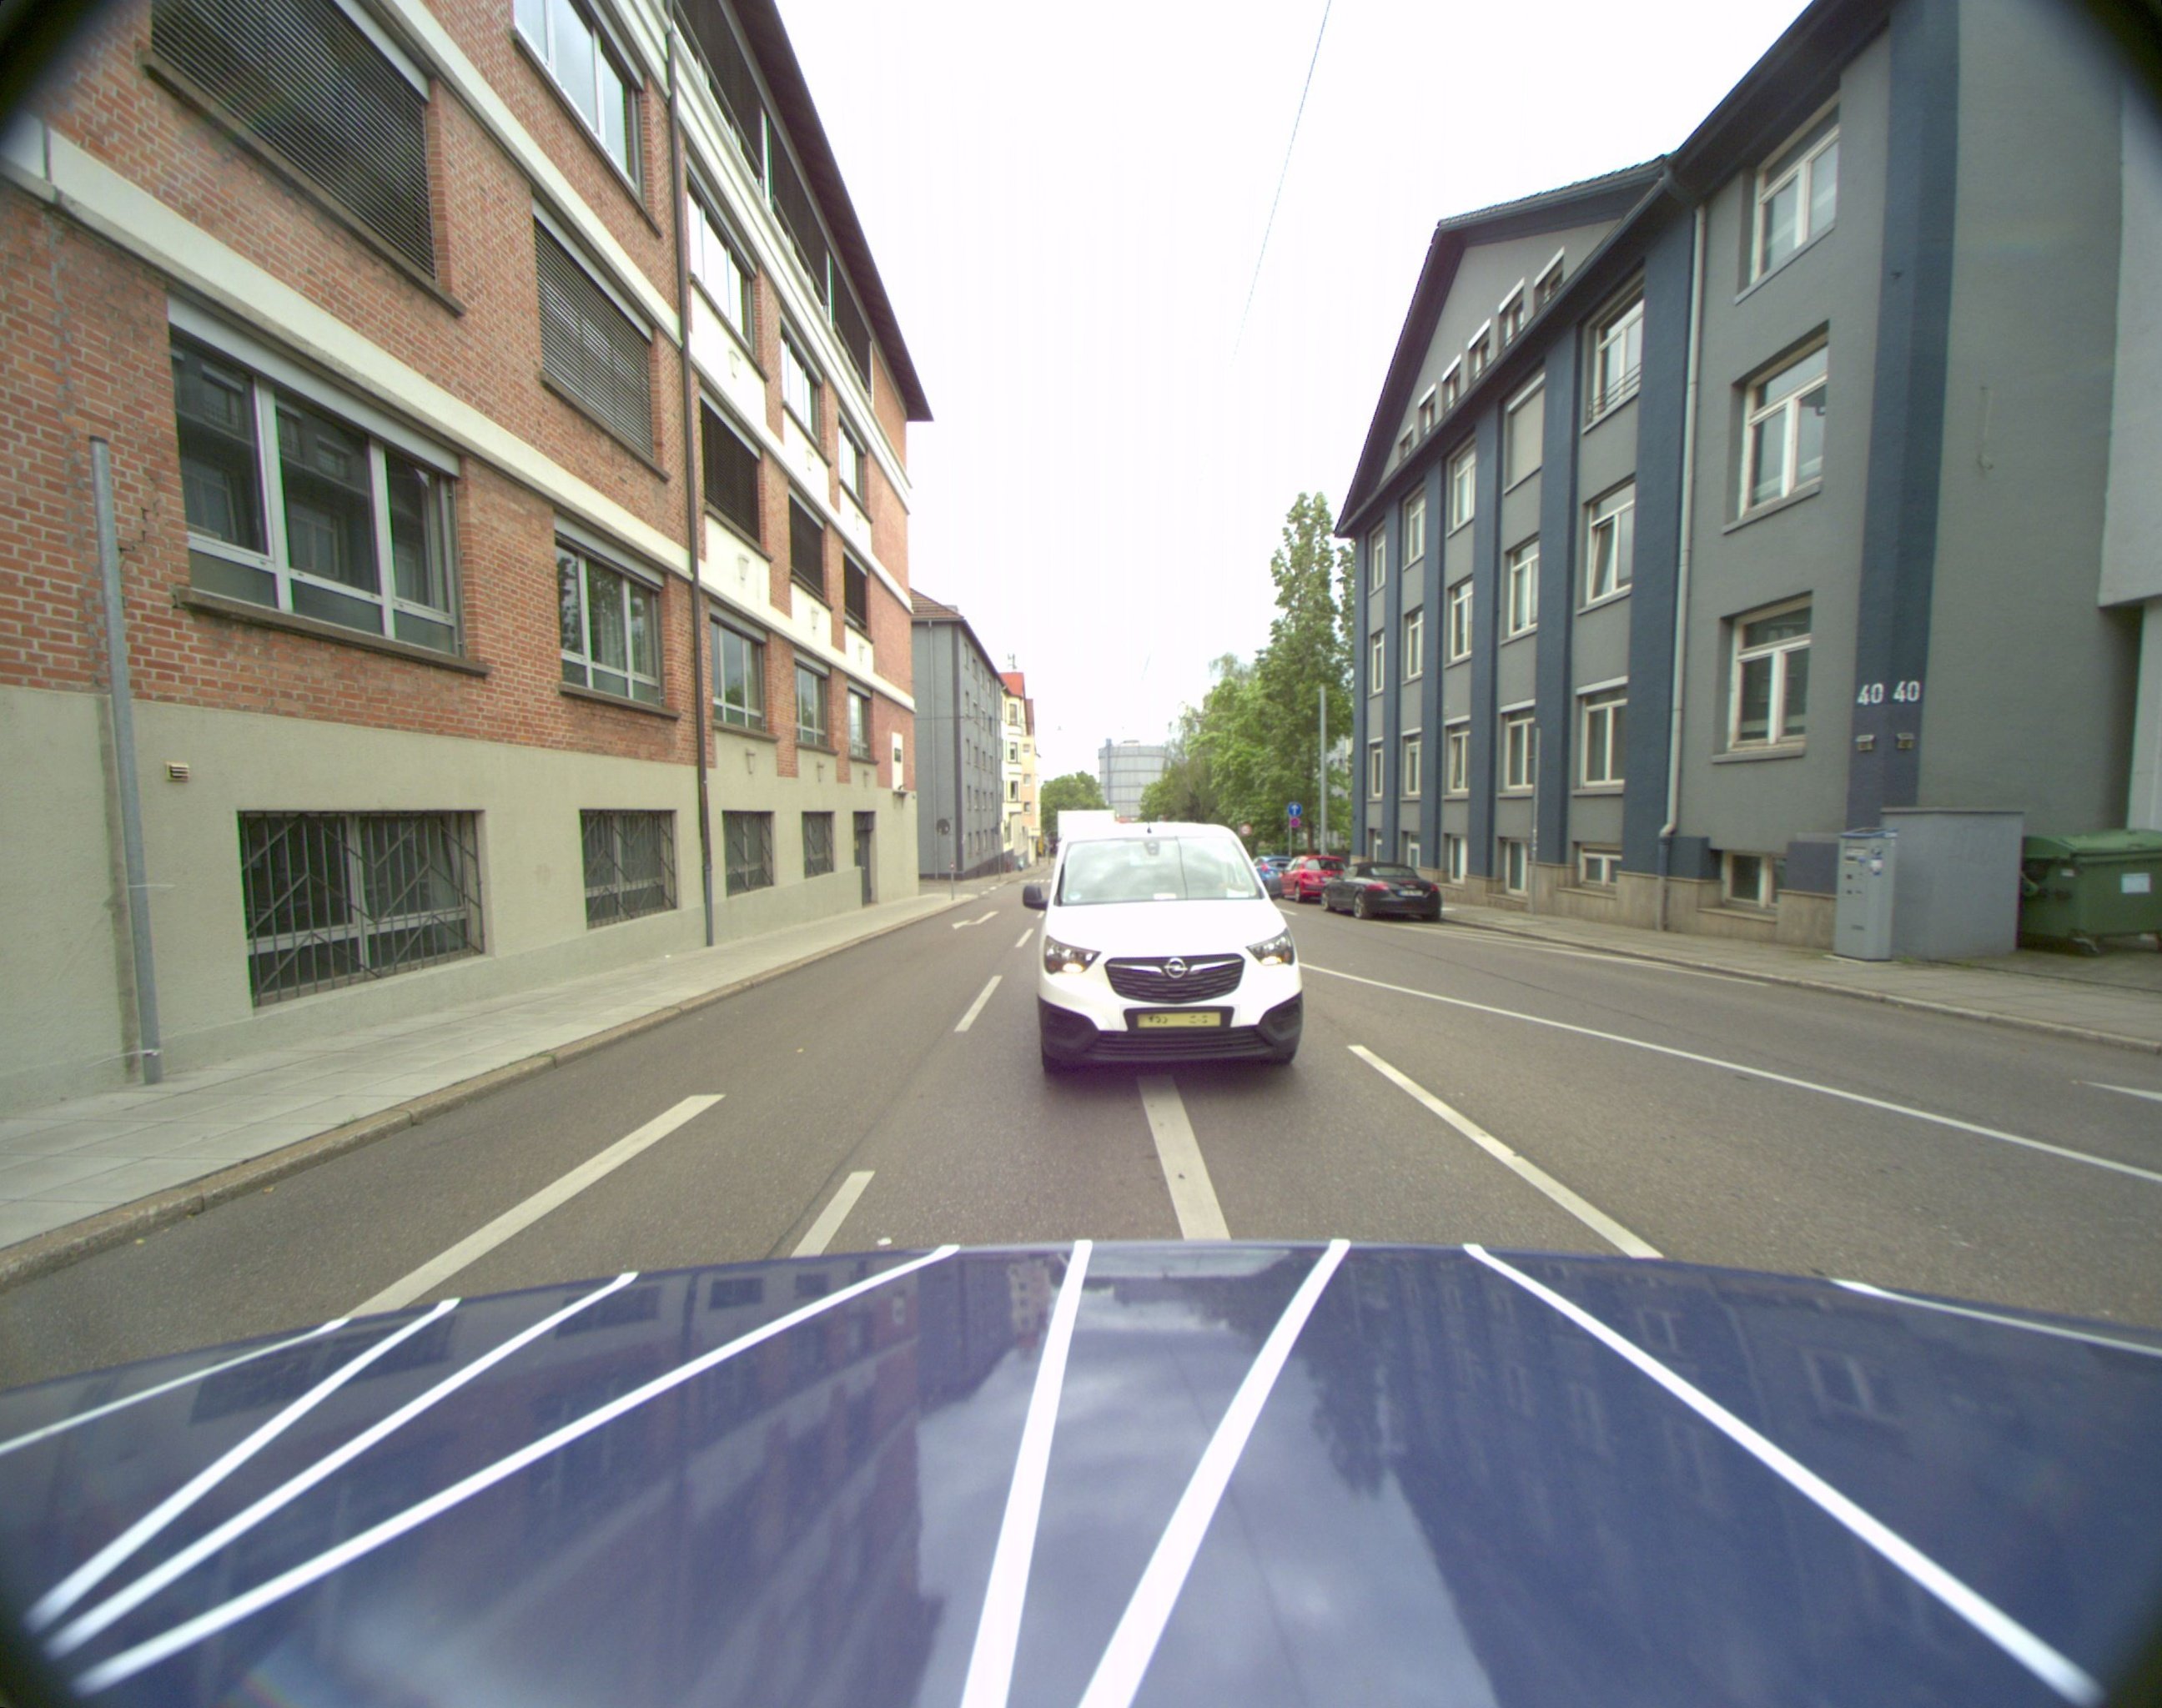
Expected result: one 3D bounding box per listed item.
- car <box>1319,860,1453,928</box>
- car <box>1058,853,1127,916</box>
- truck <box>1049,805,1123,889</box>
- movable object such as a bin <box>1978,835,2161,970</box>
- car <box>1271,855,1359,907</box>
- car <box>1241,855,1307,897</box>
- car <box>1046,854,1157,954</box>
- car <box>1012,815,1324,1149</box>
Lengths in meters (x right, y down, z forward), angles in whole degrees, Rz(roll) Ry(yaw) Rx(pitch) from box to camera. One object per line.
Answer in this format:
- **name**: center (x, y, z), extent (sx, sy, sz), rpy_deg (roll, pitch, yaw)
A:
- **car**: center (7.238, 0.891, 18.432), extent (1.801, 1.384, 3.729), rpy_deg (0, 1, 1)
- **car**: center (0.326, 0.794, 21.771), extent (1.739, 1.519, 3.999), rpy_deg (-2, 1, 1)
- **truck**: center (0.277, -0.346, 36.564), extent (2.969, 3.409, 8.879), rpy_deg (-2, 1, 1)
- **movable object such as a bin**: center (12.070, 0.547, 9.171), extent (1.229, 1.498, 1.040), rpy_deg (-2, 1, 1)
- **car**: center (7.381, 0.801, 24.299), extent (1.644, 1.441, 3.729), rpy_deg (-2, 1, 1)
- **car**: center (7.485, 0.805, 29.804), extent (1.644, 1.441, 3.729), rpy_deg (-2, 1, 1)
- **car**: center (0.359, 0.820, 14.357), extent (1.739, 1.519, 3.999), rpy_deg (-2, 1, 1)
- **car**: center (0.530, 0.725, 6.398), extent (1.739, 1.875, 3.999), rpy_deg (-2, 1, 1)
